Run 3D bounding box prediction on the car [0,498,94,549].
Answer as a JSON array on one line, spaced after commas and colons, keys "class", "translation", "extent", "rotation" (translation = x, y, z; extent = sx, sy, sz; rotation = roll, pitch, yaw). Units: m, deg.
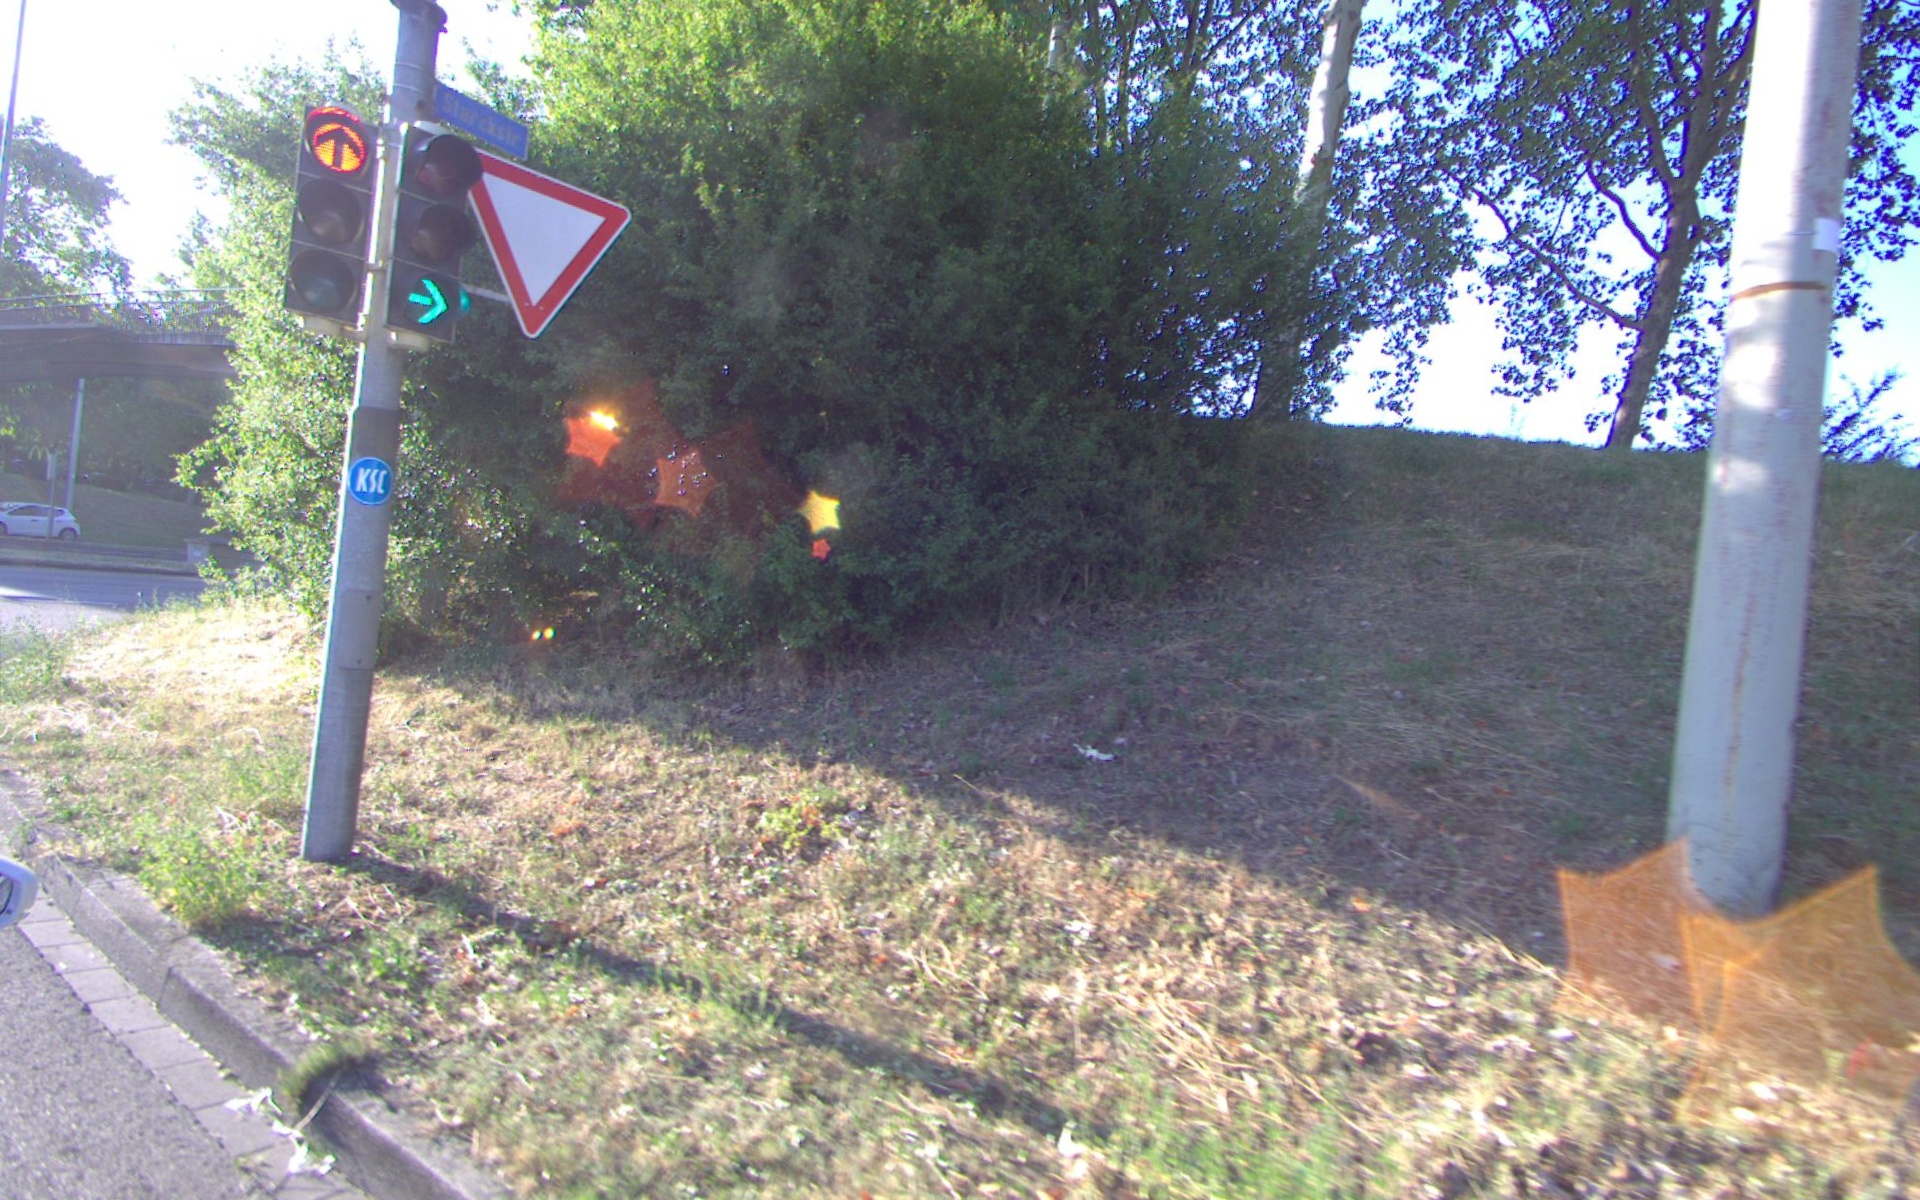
[{"class": "car", "translation": [-37.674, -3.145, 40.202], "extent": [1.821, 1.628, 4.312], "rotation": [6, -1, 13]}]
